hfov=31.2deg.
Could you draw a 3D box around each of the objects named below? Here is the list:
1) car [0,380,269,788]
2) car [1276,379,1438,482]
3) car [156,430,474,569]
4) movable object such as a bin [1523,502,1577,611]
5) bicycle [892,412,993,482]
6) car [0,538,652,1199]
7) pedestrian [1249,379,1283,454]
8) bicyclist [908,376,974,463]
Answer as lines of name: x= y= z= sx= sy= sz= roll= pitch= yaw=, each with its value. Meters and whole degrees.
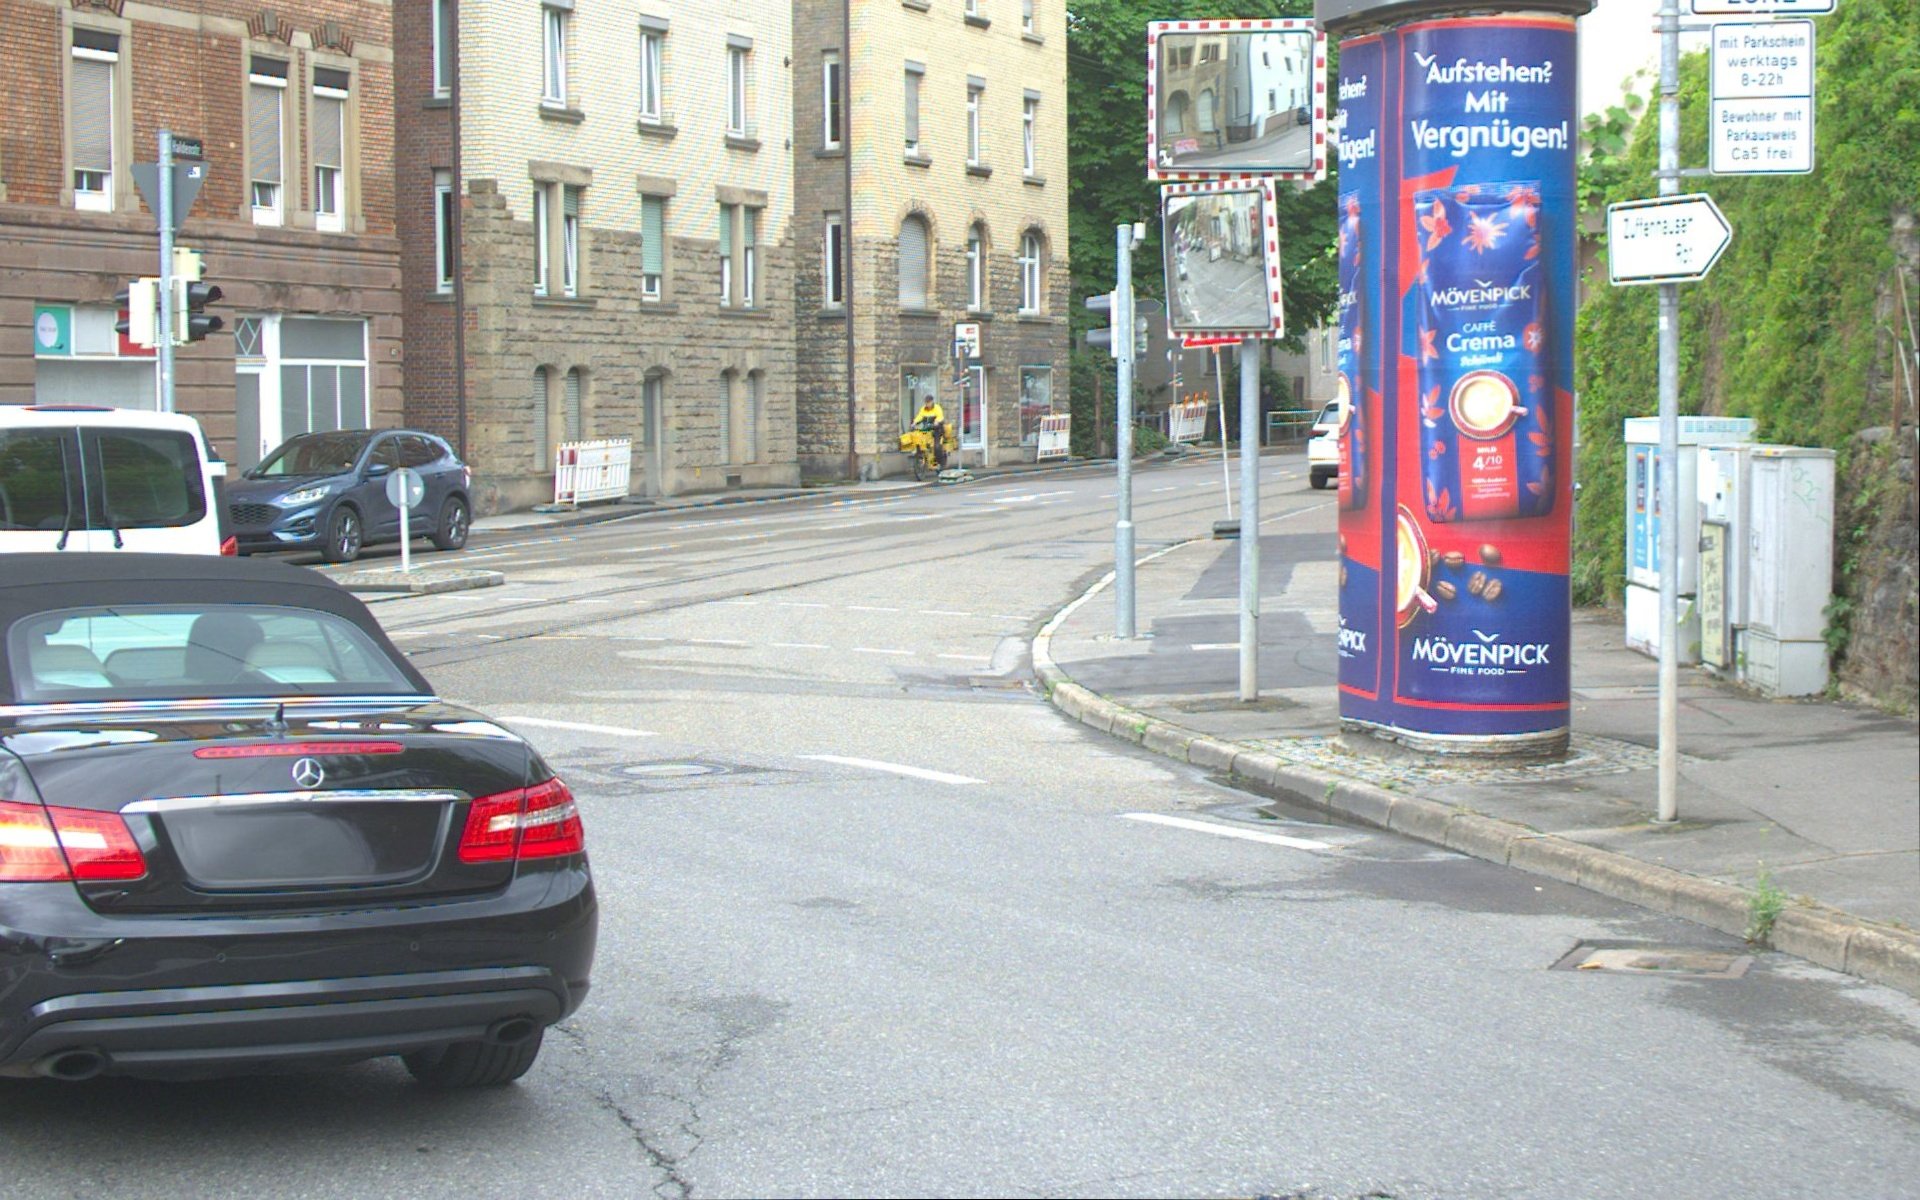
car: x=-5.797 y=-0.069 z=18.580 sx=1.893 sy=1.922 sz=4.643 roll=-5 pitch=3 yaw=-41
car: x=7.277 y=-3.098 z=62.649 sx=1.951 sy=1.712 sz=3.996 roll=-2 pitch=2 yaw=21
car: x=-8.134 y=-1.312 z=43.770 sx=1.995 sy=1.509 sz=4.282 roll=-1 pitch=4 yaw=20
movable object such as a bin: x=4.970 y=-0.371 z=28.965 sx=0.343 sy=0.908 sz=0.495 roll=0 pitch=1 yaw=-3
bicycle: x=-0.344 y=-3.150 z=70.527 sx=0.633 sy=1.302 sz=2.594 roll=-3 pitch=3 yaw=34
car: x=-2.598 y=0.600 z=9.647 sx=1.761 sy=1.404 sz=4.399 roll=-4 pitch=2 yaw=-29
pedestrian: x=8.378 y=-5.034 z=94.239 sx=0.764 sy=2.006 sz=0.753 roll=-3 pitch=2 yaw=9
bicyclist: x=-0.389 y=-3.708 z=70.477 sx=0.945 sy=1.696 sz=0.784 roll=-3 pitch=3 yaw=35
